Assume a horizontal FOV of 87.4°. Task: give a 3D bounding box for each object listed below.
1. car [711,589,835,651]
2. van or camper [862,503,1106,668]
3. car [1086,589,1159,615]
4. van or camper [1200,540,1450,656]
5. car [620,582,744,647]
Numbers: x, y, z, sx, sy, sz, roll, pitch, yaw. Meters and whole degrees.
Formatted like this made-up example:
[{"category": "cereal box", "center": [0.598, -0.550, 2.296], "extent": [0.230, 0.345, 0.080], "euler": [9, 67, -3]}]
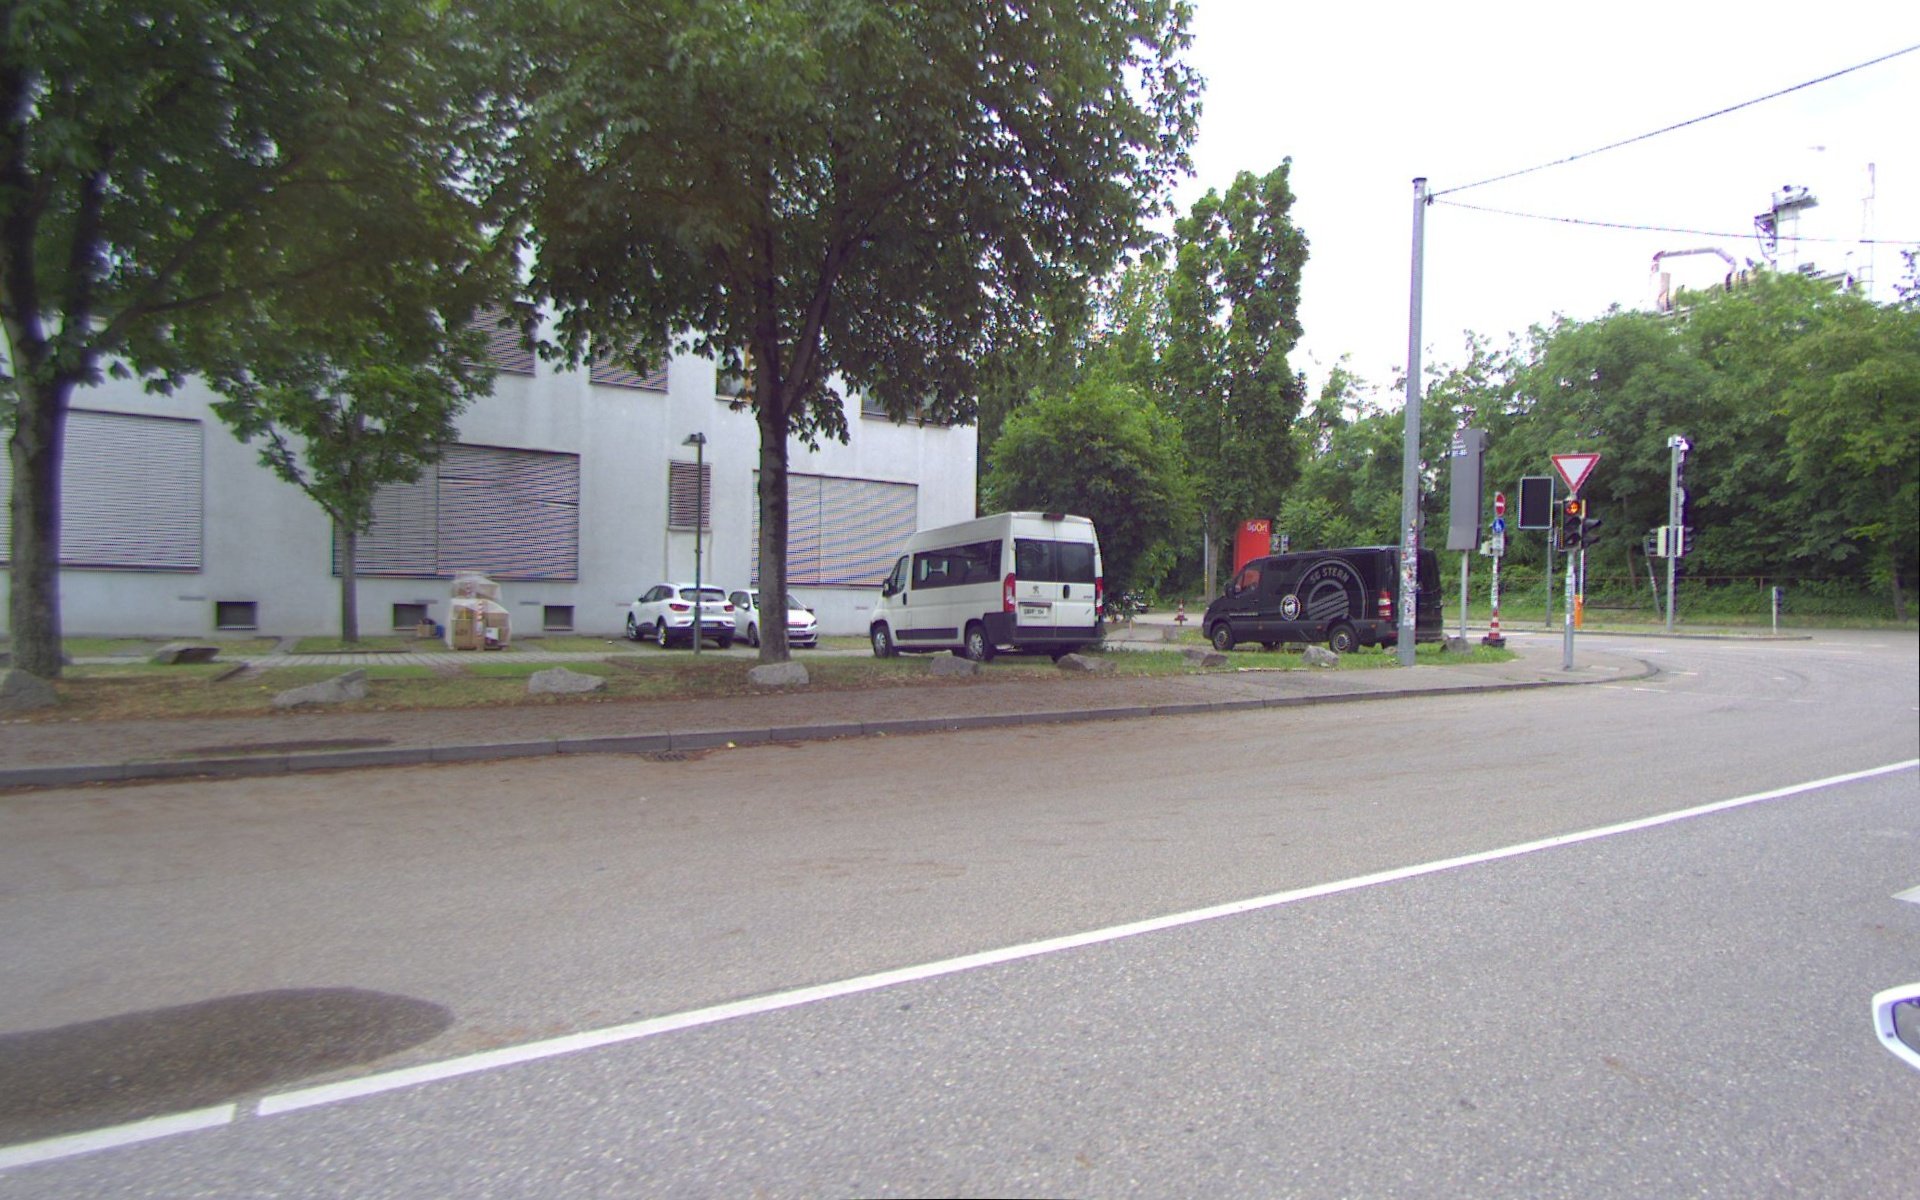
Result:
[{"category": "car", "center": [-5.200, 0.507, 27.558], "extent": [1.881, 1.475, 3.972], "euler": [2, 0, -34]}, {"category": "van or camper", "center": [0.245, -0.256, 18.463], "extent": [2.039, 2.604, 4.943], "euler": [2, 0, -32]}, {"category": "car", "center": [10.254, 0.100, 63.709], "extent": [1.881, 1.475, 4.643], "euler": [2, 0, -34]}, {"category": "van or camper", "center": [8.214, 0.052, 23.262], "extent": [2.036, 2.344, 5.513], "euler": [2, -2, -28]}, {"category": "car", "center": [-7.263, 0.334, 25.956], "extent": [1.881, 1.475, 3.972], "euler": [2, 0, -34]}]
